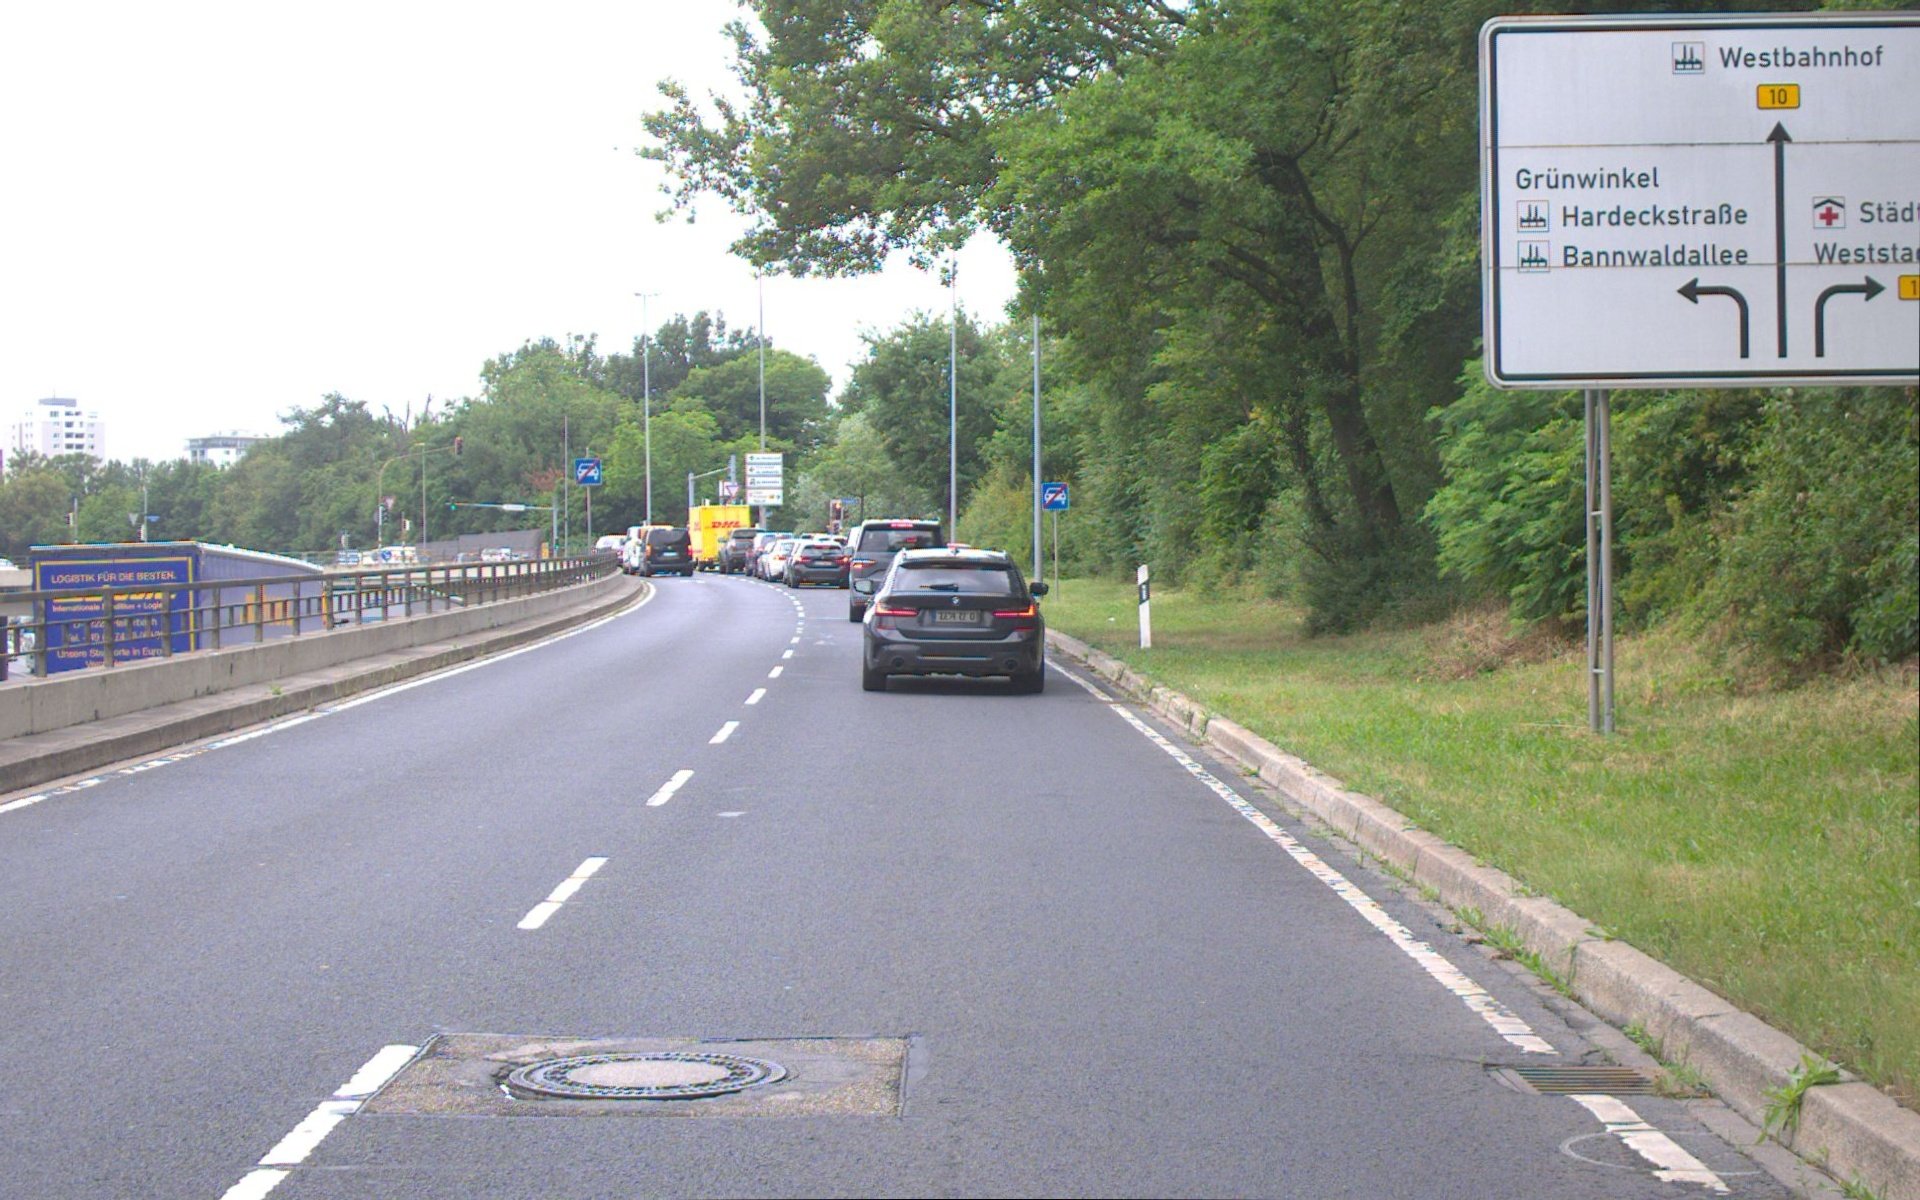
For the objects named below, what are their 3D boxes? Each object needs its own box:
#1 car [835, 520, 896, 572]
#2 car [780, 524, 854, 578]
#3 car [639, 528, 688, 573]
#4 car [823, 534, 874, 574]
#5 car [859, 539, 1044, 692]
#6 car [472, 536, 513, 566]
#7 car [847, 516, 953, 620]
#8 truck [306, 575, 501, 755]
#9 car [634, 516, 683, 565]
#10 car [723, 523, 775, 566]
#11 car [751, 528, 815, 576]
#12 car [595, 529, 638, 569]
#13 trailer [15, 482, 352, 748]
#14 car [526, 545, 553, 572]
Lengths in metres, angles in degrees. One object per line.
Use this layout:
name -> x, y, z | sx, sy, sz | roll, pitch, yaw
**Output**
car -> -3.527, -1.997, 127.976 | 1.884, 1.873, 4.431 | 1, 1, -6
car -> -4.334, -1.476, 103.777 | 1.884, 1.587, 4.431 | 1, 1, -6
car -> -11.660, -1.945, 134.978 | 1.623, 1.696, 4.297 | 1, 1, -8
car -> -4.416, -1.814, 136.288 | 1.884, 1.540, 4.001 | 1, 1, -3
car -> -0.149, 0.108, 35.606 | 1.748, 1.421, 4.462 | 0, 2, -2
car -> -27.632, -2.887, 203.210 | 1.623, 1.696, 4.298 | 1, 1, -18
car -> -1.115, -0.603, 64.716 | 1.899, 1.878, 4.416 | 1, 1, -1
truck -> -13.606, 1.407, 85.470 | 2.850, 4.023, 15.579 | -1, 0, -2
car -> -12.567, -2.477, 143.030 | 1.884, 1.980, 4.431 | 1, 1, -6
car -> -8.618, -2.246, 140.056 | 1.884, 1.694, 4.431 | 1, 1, -6
car -> -6.098, -1.645, 117.975 | 1.884, 1.587, 4.431 | 1, 1, -6
car -> -14.940, -2.211, 149.373 | 1.623, 1.696, 4.297 | 1, 1, -8
trailer -> -13.313, 0.172, 60.674 | 2.851, 4.023, 16.007 | -1, 0, -2
car -> -27.283, -2.704, 222.826 | 1.623, 1.696, 4.297 | 1, 1, -8
